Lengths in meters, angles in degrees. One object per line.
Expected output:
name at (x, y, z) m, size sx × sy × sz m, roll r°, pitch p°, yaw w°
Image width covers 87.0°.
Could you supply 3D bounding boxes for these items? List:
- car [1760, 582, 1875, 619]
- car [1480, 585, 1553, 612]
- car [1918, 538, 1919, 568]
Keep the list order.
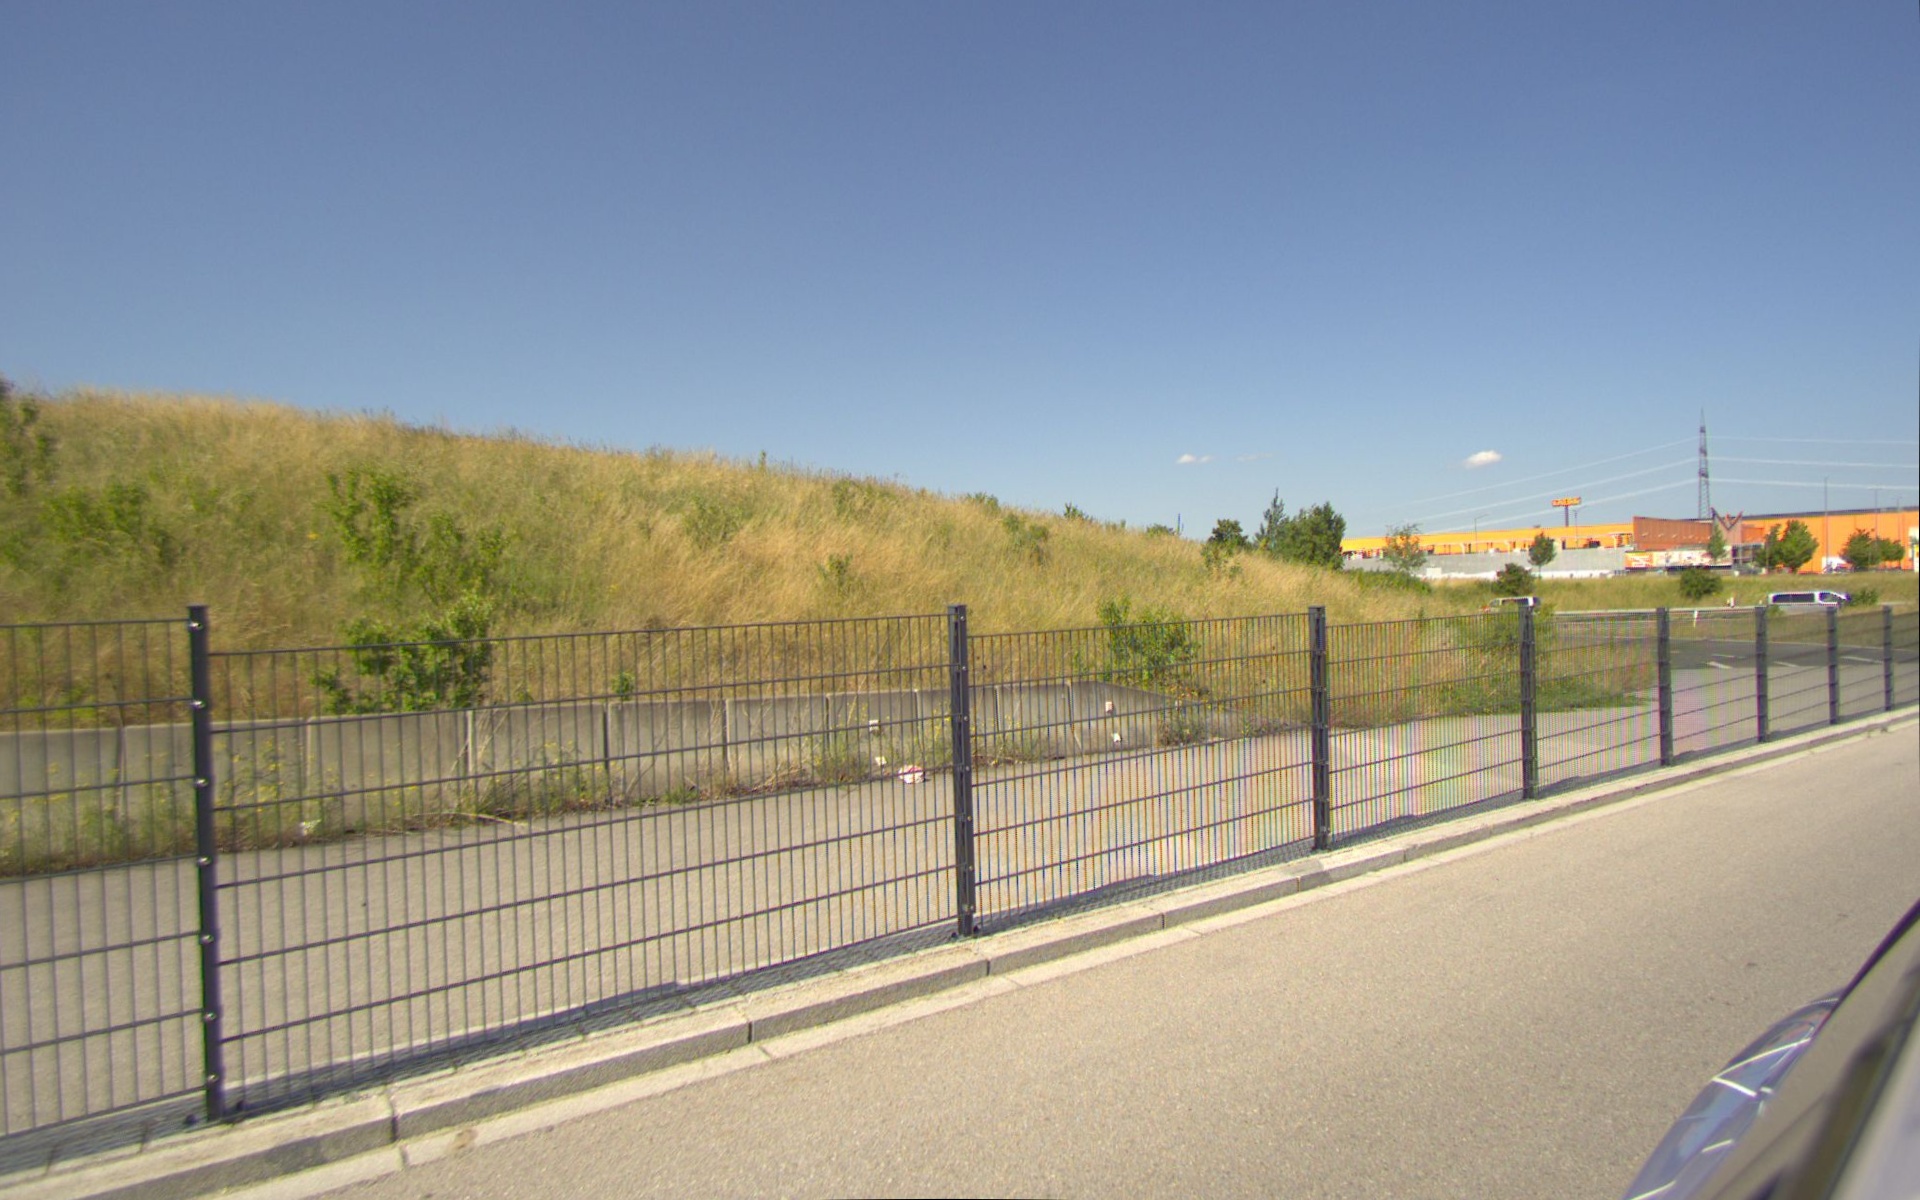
car at (49.384, 0.070, 58.374) m, size 1.964 × 2.039 × 4.754 m, roll -1°, pitch -1°, yaw -38°
car at (44.119, -0.122, 80.326) m, size 1.965 × 2.039 × 4.629 m, roll -1°, pitch -1°, yaw -40°
car at (82.796, -4.004, 83.975) m, size 1.965 × 2.581 × 4.628 m, roll -1°, pitch -1°, yaw -41°
